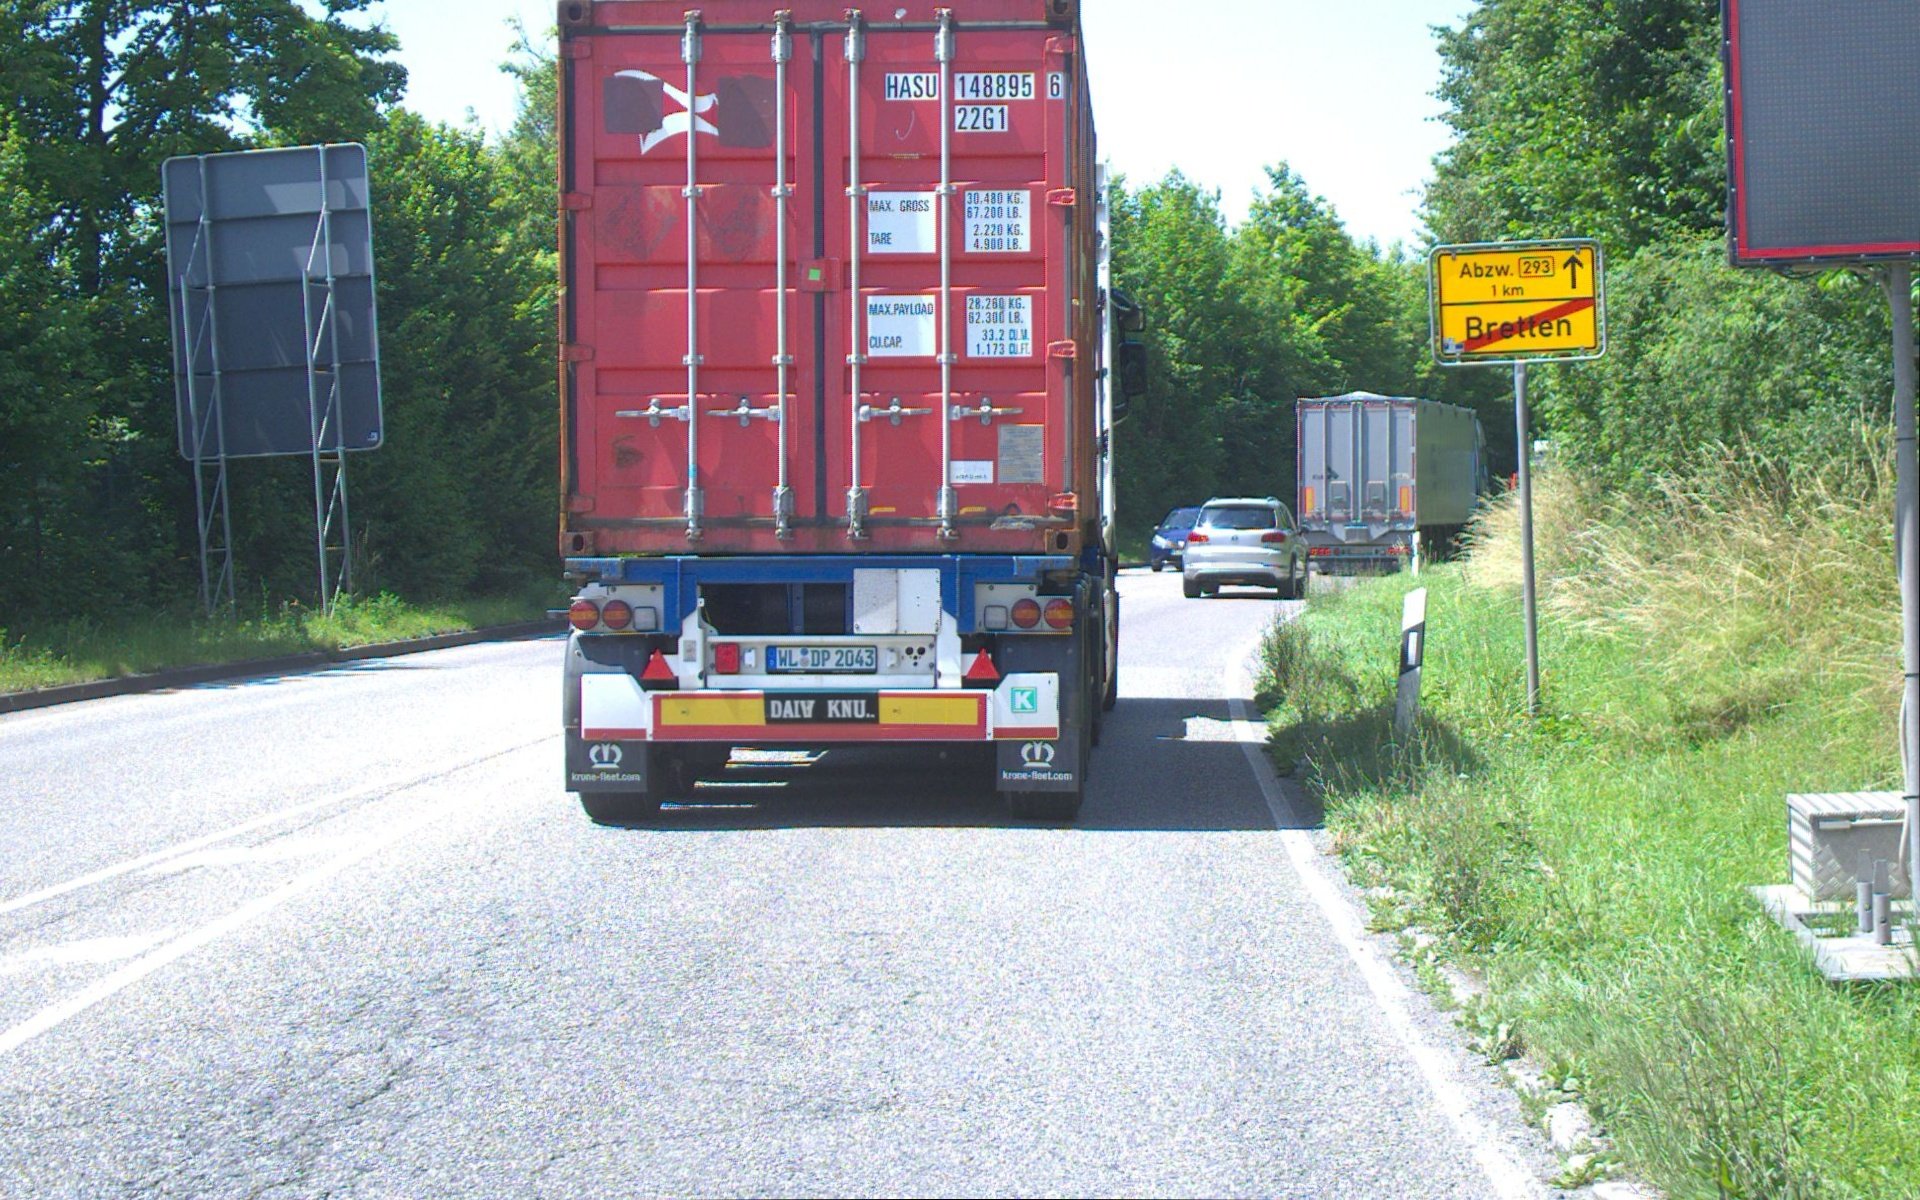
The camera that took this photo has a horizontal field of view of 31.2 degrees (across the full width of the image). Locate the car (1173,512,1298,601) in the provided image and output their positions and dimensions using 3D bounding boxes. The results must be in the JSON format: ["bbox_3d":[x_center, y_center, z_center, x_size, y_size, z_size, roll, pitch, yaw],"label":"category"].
[{"bbox_3d":[4.687,-0.763,58.117,1.833,1.428,3.999,1,1,8],"label":"car"}]

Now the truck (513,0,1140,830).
[{"bbox_3d":[-0.276,-0.970,22.457,2.648,3.793,13.358,1,1,4],"label":"truck"}]

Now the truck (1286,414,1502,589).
[{"bbox_3d":[10.220,-2.246,79.483,2.924,3.704,13.350,1,1,16],"label":"truck"}]
